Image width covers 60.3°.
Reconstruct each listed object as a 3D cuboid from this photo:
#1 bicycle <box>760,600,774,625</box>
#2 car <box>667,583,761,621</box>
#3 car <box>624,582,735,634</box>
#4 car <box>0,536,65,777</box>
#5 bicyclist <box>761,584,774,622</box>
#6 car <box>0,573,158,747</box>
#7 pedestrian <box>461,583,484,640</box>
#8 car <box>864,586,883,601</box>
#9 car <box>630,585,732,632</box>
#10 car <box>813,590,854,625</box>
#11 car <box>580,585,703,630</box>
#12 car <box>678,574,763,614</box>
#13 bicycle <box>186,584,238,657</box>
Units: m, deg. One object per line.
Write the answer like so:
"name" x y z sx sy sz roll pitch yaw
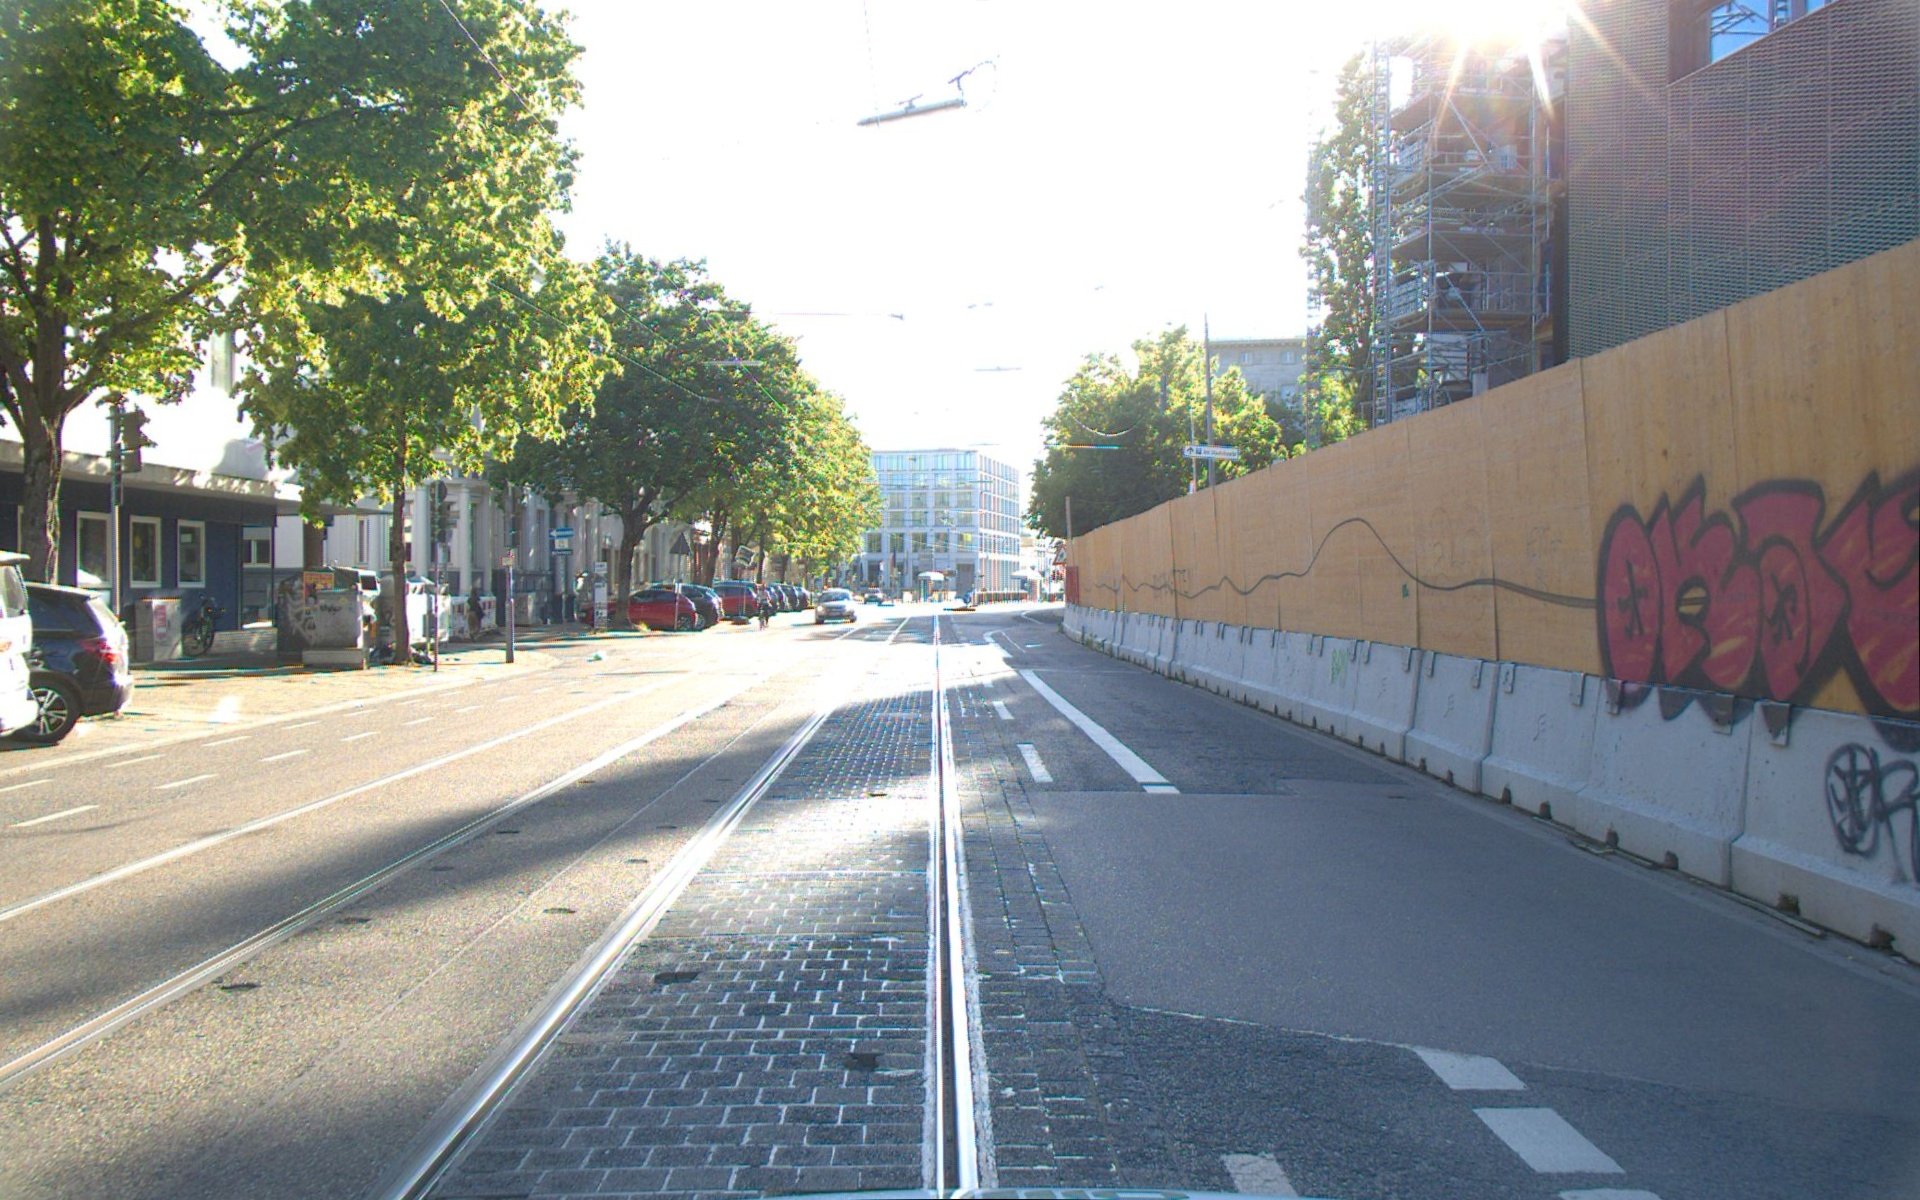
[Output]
"bicycle" -7.263 0.476 62.336 0.440 0.896 1.900 -1 1 -4
"car" -11.601 0.097 78.026 4.113 1.751 1.569 0 0 -29
"car" -10.045 0.269 59.323 3.645 1.751 1.591 -1 1 -36
"car" -10.172 0.430 14.035 4.294 2.021 1.936 1 0 -23
"bicyclist" -7.253 0.110 62.427 0.448 1.402 0.640 -1 0 -4
"car" -10.512 0.557 16.715 4.228 1.695 1.897 2 0 -25
"pedestrian" -13.935 0.326 47.291 0.338 1.599 0.511 -1 0 27
"car" -8.914 -0.705 170.936 1.525 1.556 4.002 -1 0 3
"car" -10.948 0.306 65.093 3.645 1.751 1.591 -1 1 -36
"car" -5.552 0.315 72.956 1.675 1.461 4.169 -1 1 -3
"car" -10.938 0.262 56.913 3.868 1.478 1.618 1 -1 -35
"car" -11.783 -0.290 81.276 3.789 1.864 1.714 1 0 -31
"bicycle" -14.510 0.376 32.131 0.516 1.367 2.176 -1 0 -14
